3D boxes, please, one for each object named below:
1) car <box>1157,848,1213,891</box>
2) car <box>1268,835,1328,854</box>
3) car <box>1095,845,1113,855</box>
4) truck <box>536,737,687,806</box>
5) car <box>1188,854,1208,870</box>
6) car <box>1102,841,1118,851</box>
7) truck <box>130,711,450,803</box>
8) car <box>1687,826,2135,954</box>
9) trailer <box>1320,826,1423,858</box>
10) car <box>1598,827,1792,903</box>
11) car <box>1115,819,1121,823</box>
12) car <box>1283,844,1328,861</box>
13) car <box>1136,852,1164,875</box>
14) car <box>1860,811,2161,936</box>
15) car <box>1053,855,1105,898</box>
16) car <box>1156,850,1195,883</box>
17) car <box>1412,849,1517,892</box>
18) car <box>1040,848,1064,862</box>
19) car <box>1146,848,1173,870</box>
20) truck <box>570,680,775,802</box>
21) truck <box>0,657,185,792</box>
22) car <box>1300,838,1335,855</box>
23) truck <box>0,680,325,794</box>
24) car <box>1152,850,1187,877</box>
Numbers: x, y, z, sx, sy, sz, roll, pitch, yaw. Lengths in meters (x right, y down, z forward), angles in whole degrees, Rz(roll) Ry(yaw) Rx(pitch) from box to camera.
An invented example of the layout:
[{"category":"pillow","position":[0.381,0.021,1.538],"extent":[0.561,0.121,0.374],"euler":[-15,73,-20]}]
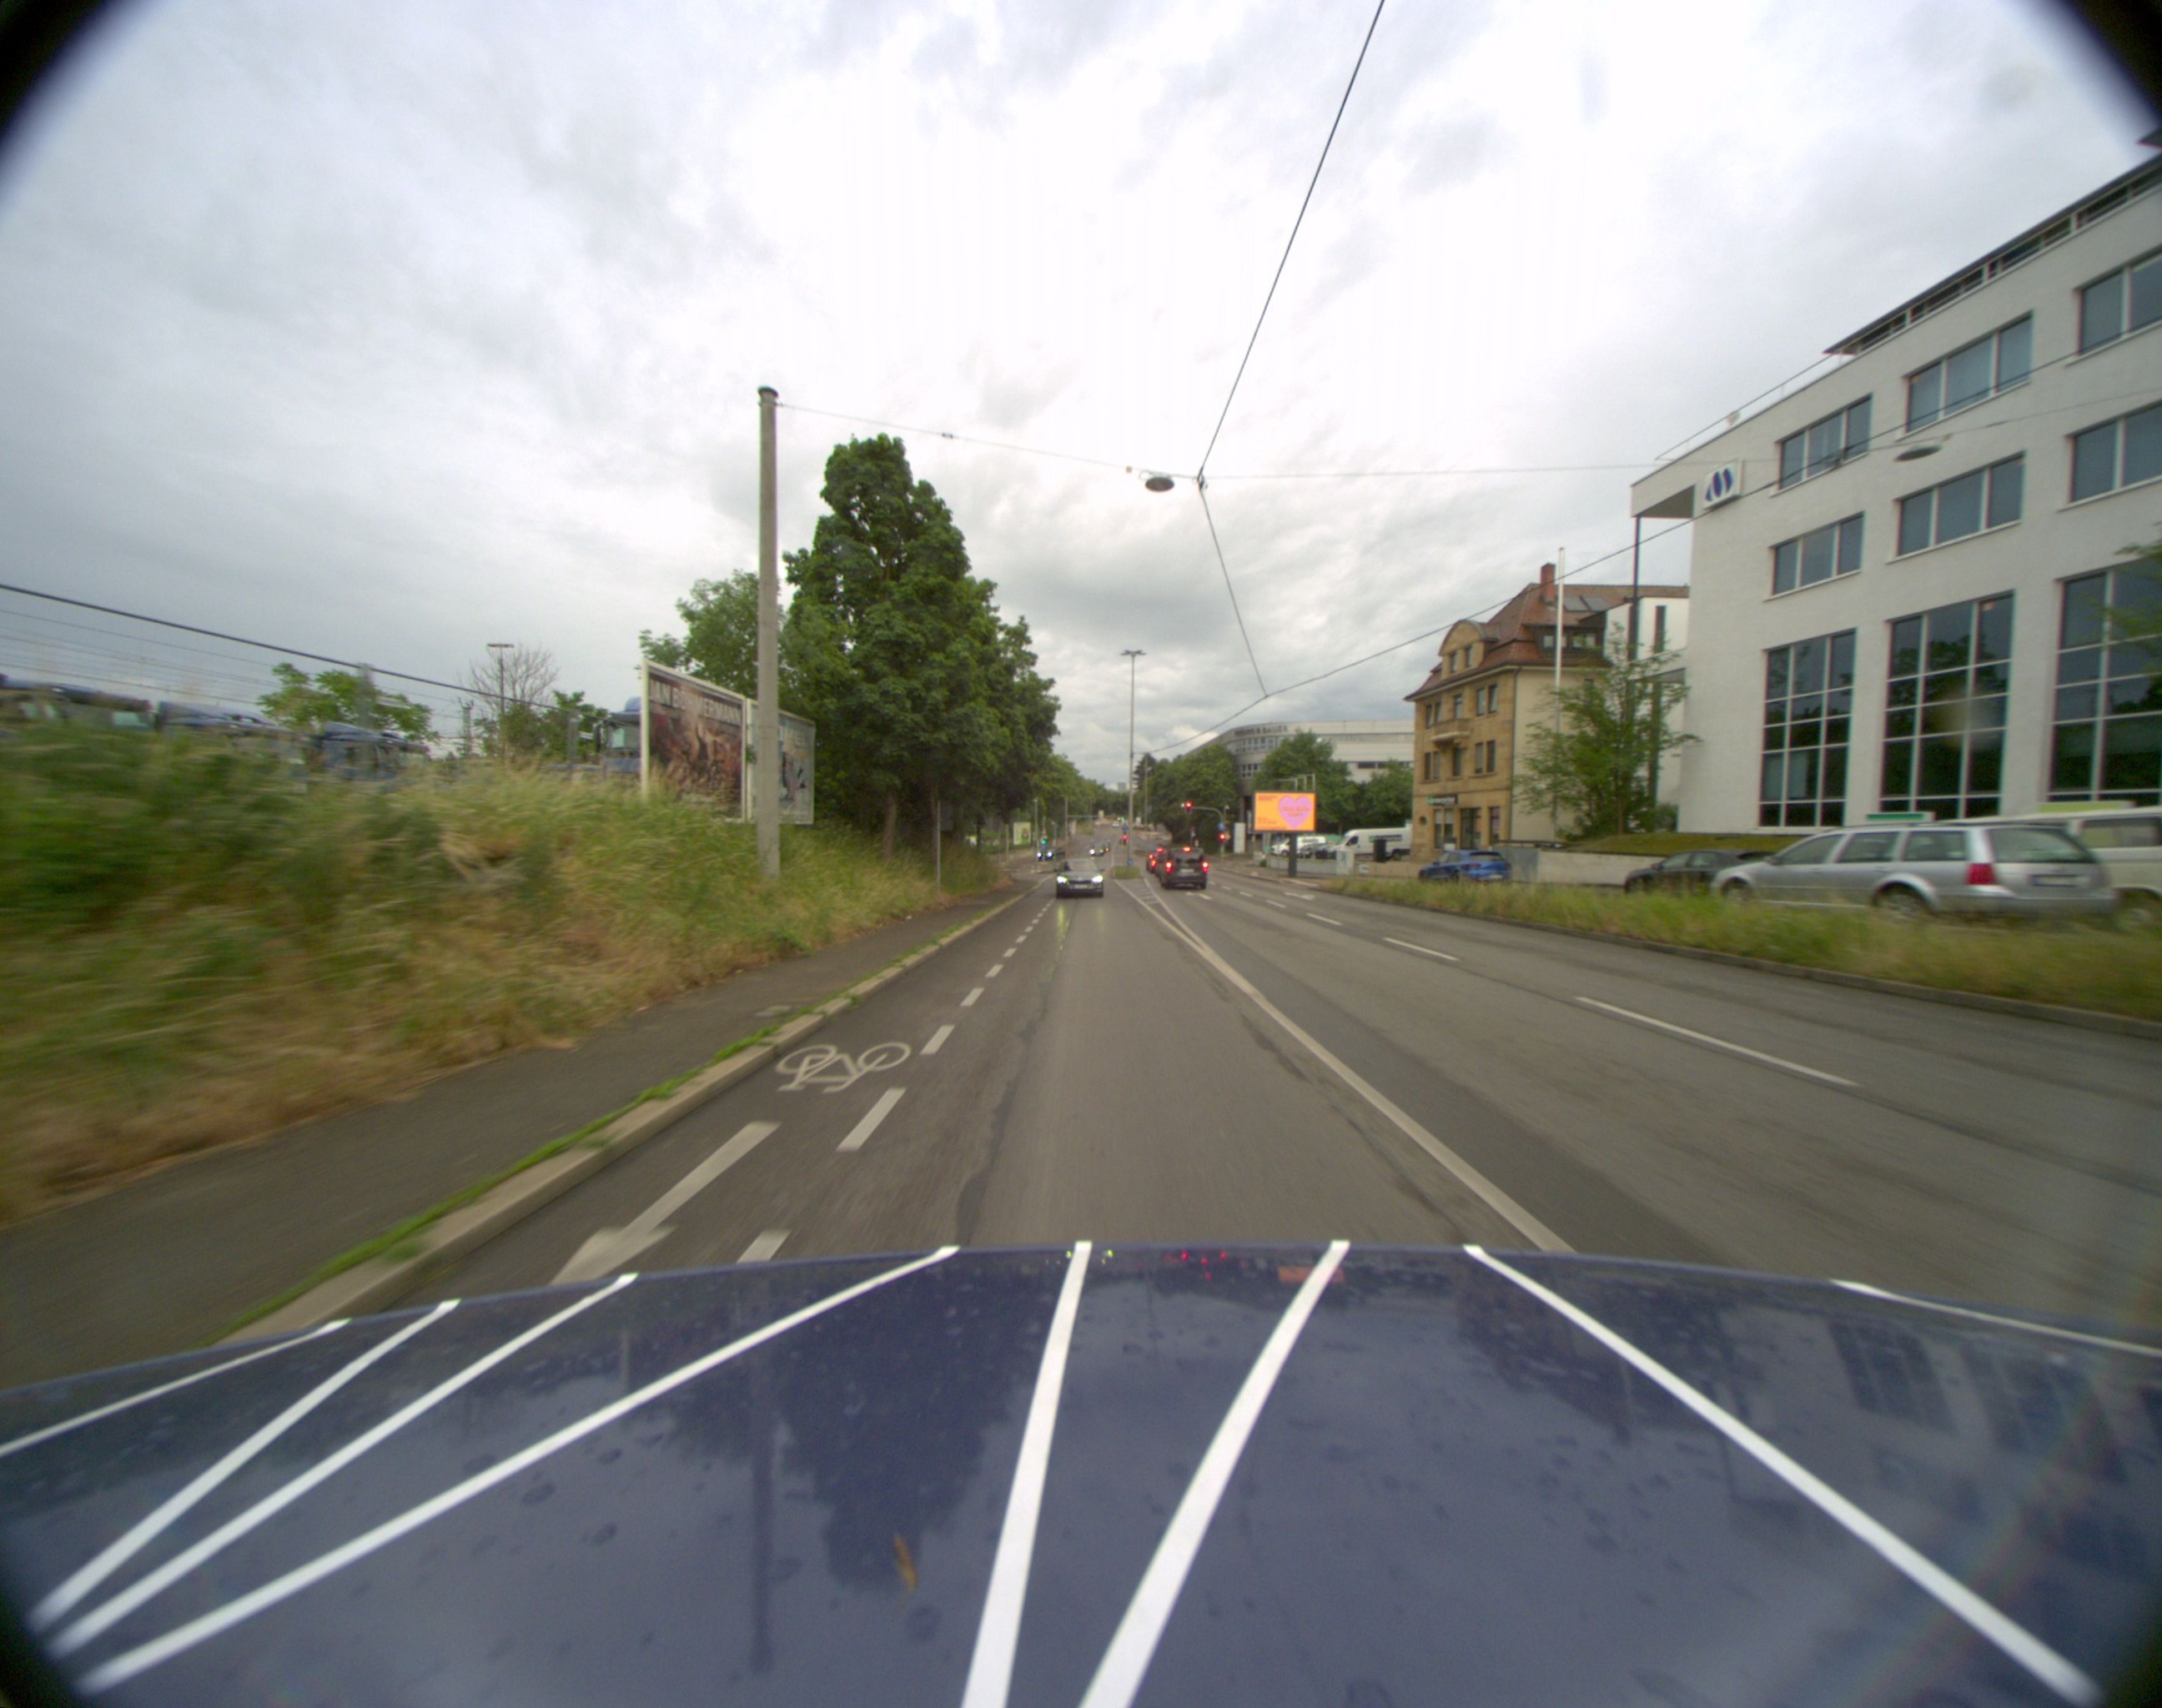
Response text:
[{"category":"car","position":[4.794,0.654,35.757],"extent":[2.019,1.856,5.041],"euler":[1,0,1]},{"category":"car","position":[22.006,-0.987,77.186],"extent":[5.371,1.792,2.218],"euler":[0,3,-6]},{"category":"car","position":[3.207,-0.573,105.605],"extent":[1.595,1.253,3.758],"euler":[-2,2,14]},{"category":"truck","position":[-25.853,-4.389,42.635],"extent":[2.256,3.178,9.638],"euler":[-1,2,1]},{"category":"car","position":[10.178,0.700,66.421],"extent":[1.380,1.216,2.452],"euler":[0,2,0]},{"category":"car","position":[4.536,-1.262,119.681],"extent":[1.750,1.362,3.758],"euler":[-2,2,14]},{"category":"truck","position":[-26.233,-3.166,25.503],"extent":[7.757,2.800,2.585],"euler":[0,3,-2]},{"category":"car","position":[11.391,0.446,11.023],"extent":[1.651,1.469,4.444],"euler":[1,-1,0]},{"category":"trailer","position":[22.824,-0.984,59.948],"extent":[7.115,2.415,2.394],"euler":[0,3,0]},{"category":"car","position":[15.319,0.283,19.271],"extent":[1.615,1.711,3.993],"euler":[1,-1,-1]},{"category":"car","position":[10.654,-9.610,221.014],"extent":[1.532,1.307,3.230],"euler":[1,2,5]},{"category":"car","position":[20.501,-0.186,69.506],"extent":[3.620,1.361,1.741],"euler":[-2,2,1]},{"category":"car","position":[5.255,0.687,58.352],"extent":[1.810,1.522,4.440],"euler":[0,2,1]},{"category":"car","position":[15.866,0.306,12.292],"extent":[1.775,1.735,4.583],"euler":[1,-1,-1]},{"category":"car","position":[-0.060,0.825,29.659],"extent":[1.811,1.509,4.052],"euler":[-2,0,0]},{"category":"car","position":[5.359,0.662,43.488],"extent":[1.692,1.595,4.727],"euler":[0,2,1]},{"category":"car","position":[15.014,0.629,30.066],"extent":[1.692,1.525,4.672],"euler":[1,-1,-1]},{"category":"car","position":[-3.754,0.144,98.348],"extent":[1.950,1.535,4.213],"euler":[-2,2,14]},{"category":"car","position":[6.678,0.380,65.203],"extent":[1.938,1.808,5.170],"euler":[1,1,2]},{"category":"truck","position":[-11.398,-3.018,21.948],"extent":[2.290,2.636,6.050],"euler":[-5,2,1]},{"category":"truck","position":[-26.177,-2.876,17.335],"extent":[8.026,2.724,2.585],"euler":[0,3,-2]},{"category":"car","position":[20.791,-0.649,66.859],"extent":[2.684,1.416,1.227],"euler":[-2,2,1]},{"category":"truck","position":[-26.587,-3.184,21.394],"extent":[7.731,2.841,2.585],"euler":[0,3,-2]},{"category":"car","position":[5.838,0.612,50.495],"extent":[1.959,1.687,4.625],"euler":[1,1,2]}]
